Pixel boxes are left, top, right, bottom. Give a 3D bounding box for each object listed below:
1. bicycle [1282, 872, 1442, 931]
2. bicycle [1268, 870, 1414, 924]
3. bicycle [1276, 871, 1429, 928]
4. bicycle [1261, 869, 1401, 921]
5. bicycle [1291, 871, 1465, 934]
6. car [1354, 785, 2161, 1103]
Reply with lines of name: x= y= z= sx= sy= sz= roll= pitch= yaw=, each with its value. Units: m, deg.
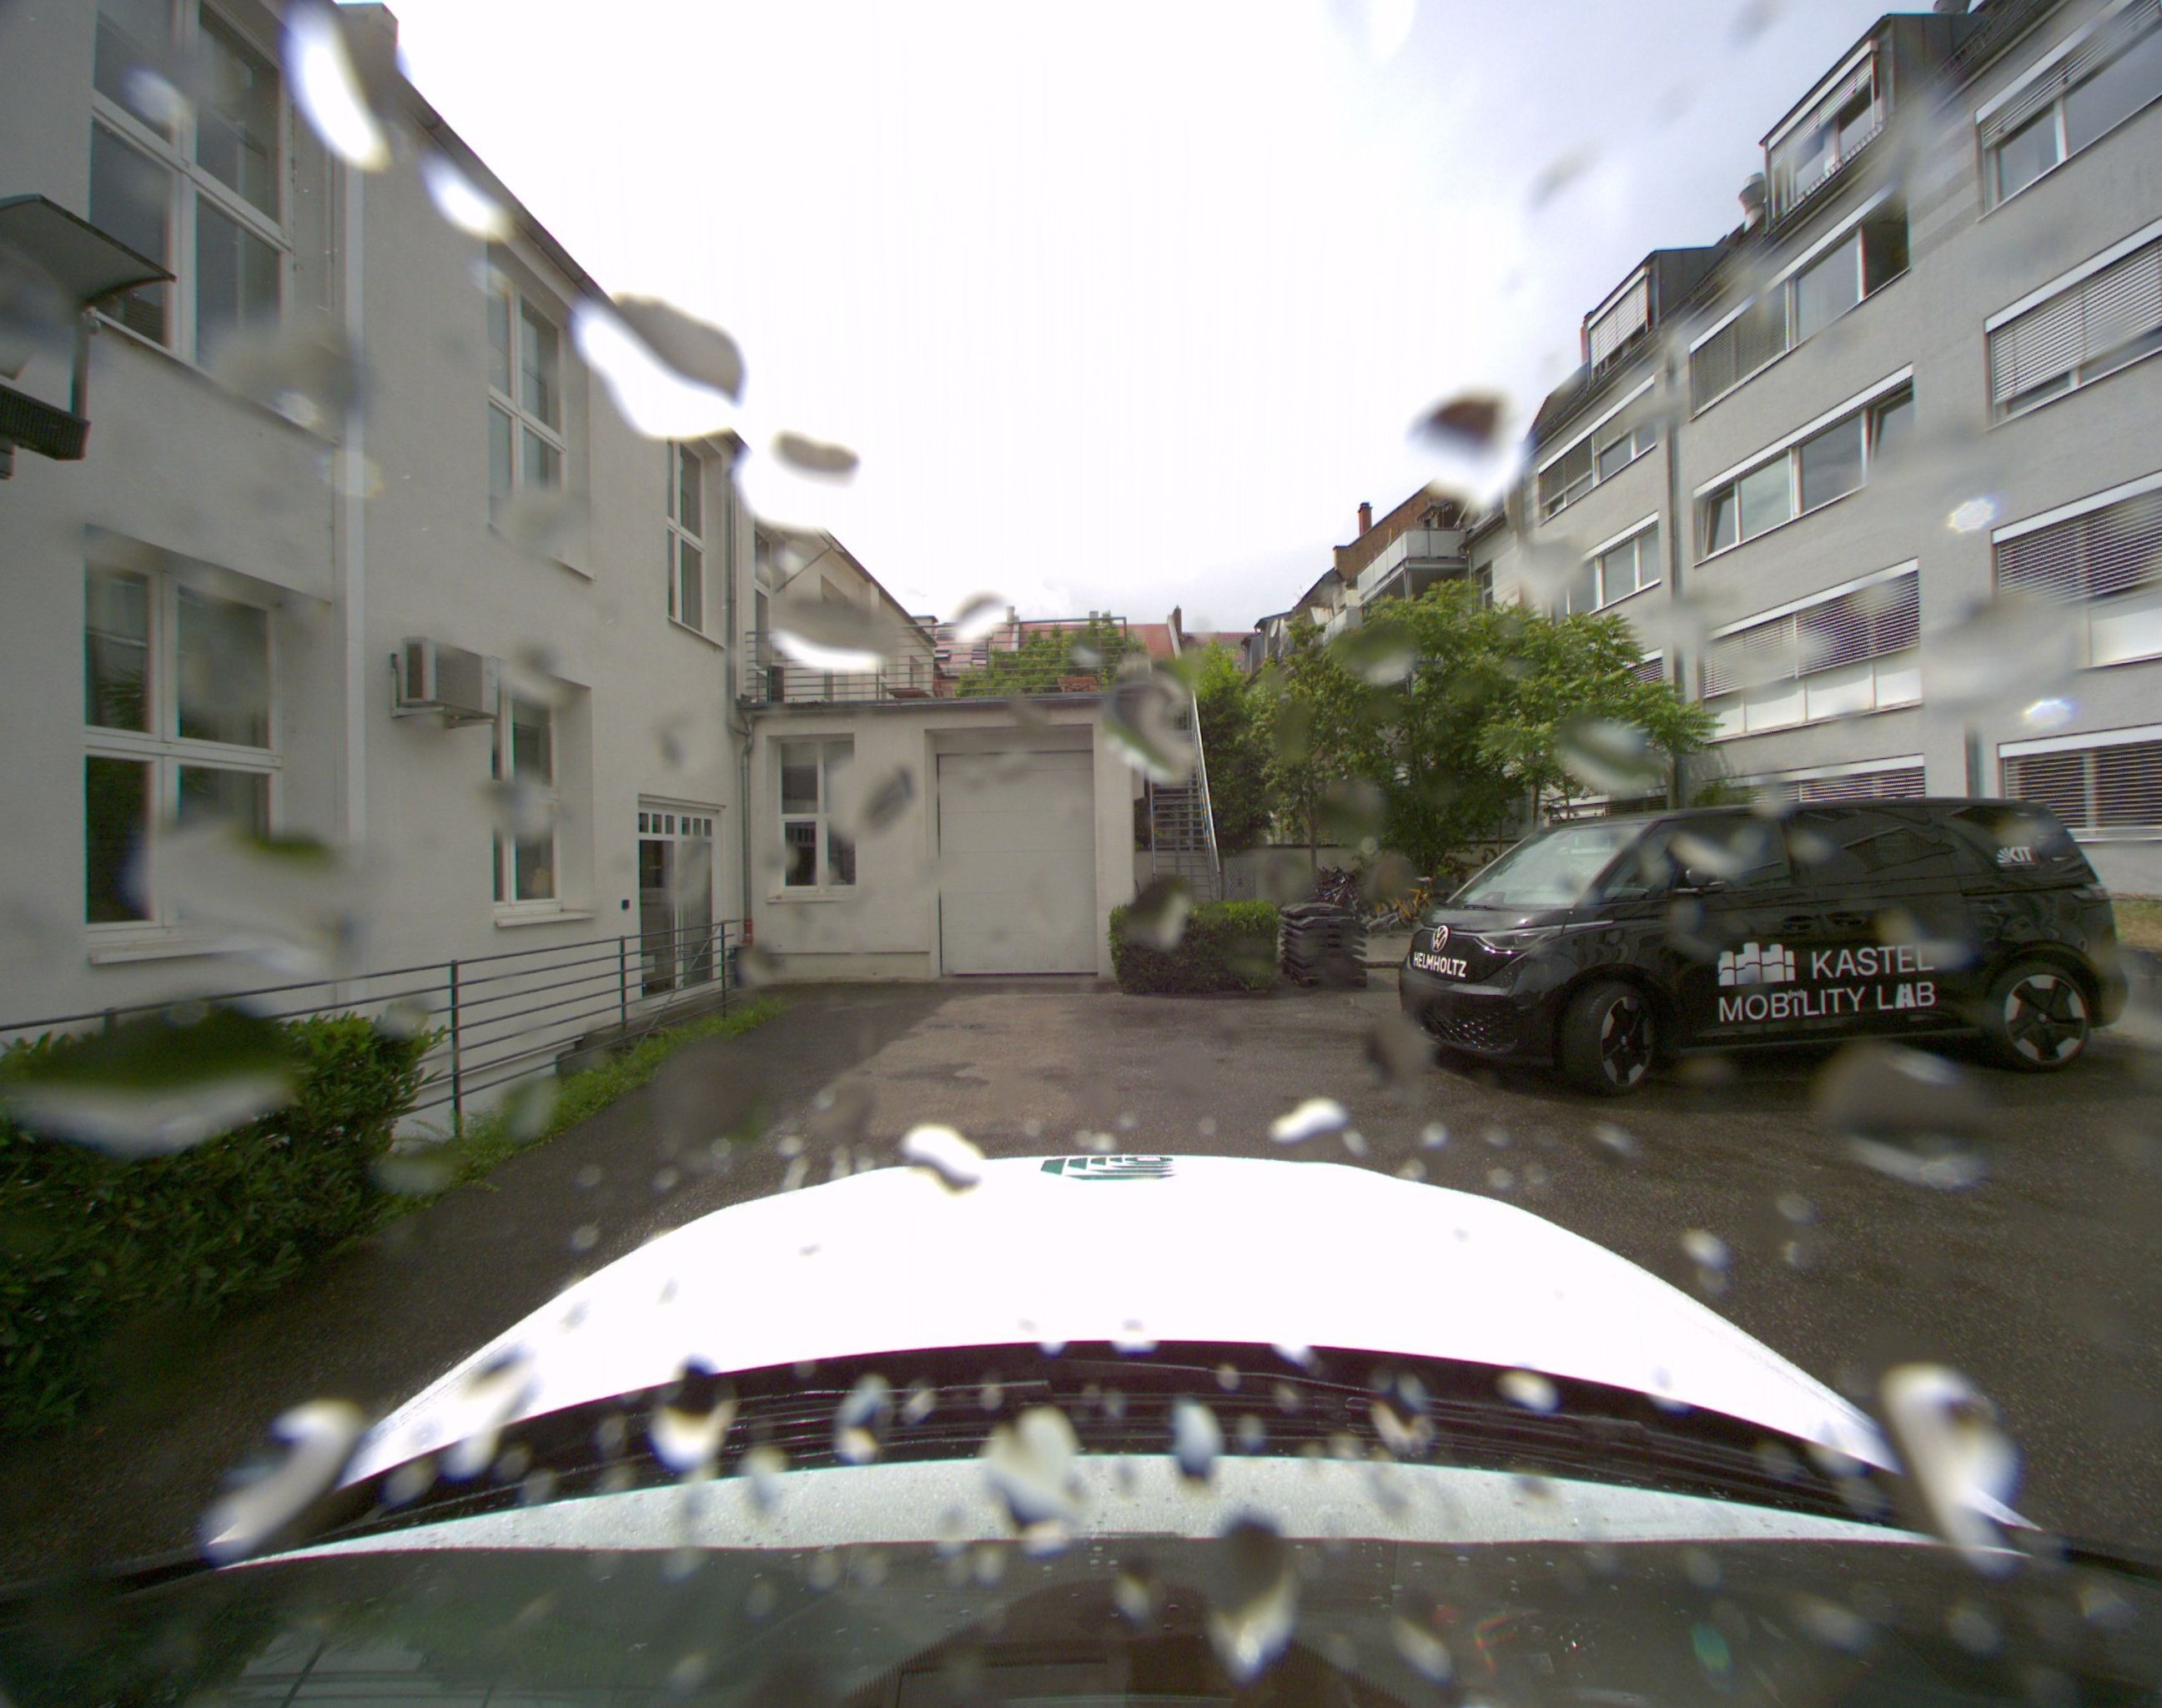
bicycle: x=5.328 y=0.894 z=15.532 sx=2.833 sy=1.078 sz=0.689 roll=0 pitch=0 yaw=0
bicycle: x=5.381 y=0.884 z=16.970 sx=2.833 sy=1.078 sz=0.689 roll=0 pitch=0 yaw=0
bicycle: x=5.395 y=0.889 z=16.255 sx=2.833 sy=1.078 sz=0.689 roll=0 pitch=0 yaw=0
bicycle: x=5.395 y=0.880 z=17.678 sx=2.833 sy=1.078 sz=0.689 roll=0 pitch=0 yaw=0
bicycle: x=5.344 y=0.860 z=14.752 sx=2.913 sy=1.078 sz=0.689 roll=0 pitch=0 yaw=0
car: x=4.854 y=0.562 z=6.319 sx=4.699 sy=1.833 sz=2.108 roll=-2 pitch=-1 yaw=-4
